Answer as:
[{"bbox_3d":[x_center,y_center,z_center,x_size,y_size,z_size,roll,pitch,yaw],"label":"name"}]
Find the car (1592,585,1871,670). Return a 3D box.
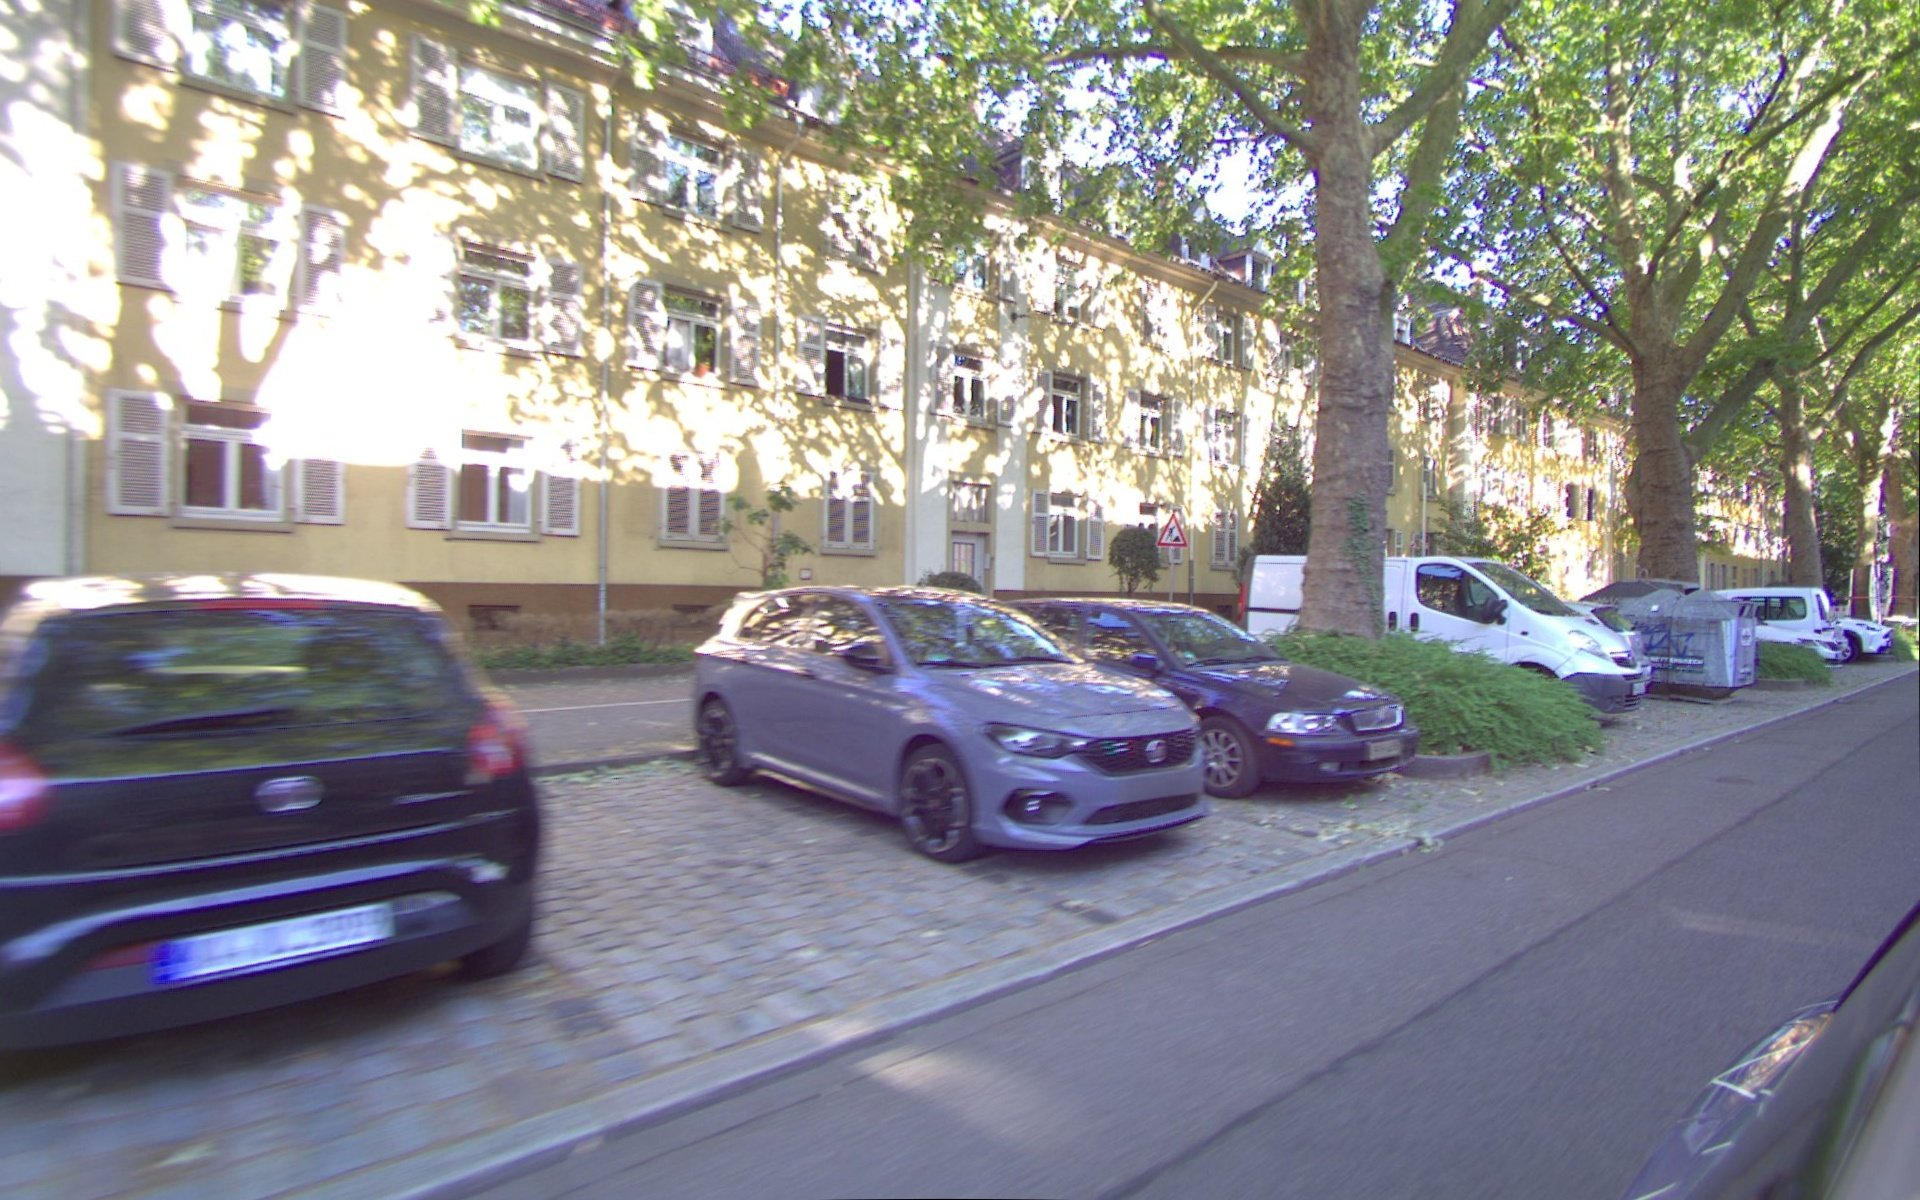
[{"bbox_3d":[16.142,0.507,21.399,1.767,1.561,4.384,1,0,-36],"label":"car"}]

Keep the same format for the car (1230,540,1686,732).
[{"bbox_3d":[6.129,0.324,12.963,2.030,1.988,4.843,0,1,-42],"label":"car"}]

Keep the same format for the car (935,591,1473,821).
[{"bbox_3d":[1.762,0.648,8.697,1.770,1.397,4.410,0,1,-36],"label":"car"}]

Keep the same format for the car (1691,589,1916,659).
[{"bbox_3d":[21.058,0.529,25.388,1.883,1.540,4.095,-1,2,-41],"label":"car"}]

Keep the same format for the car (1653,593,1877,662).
[{"bbox_3d":[19.110,0.584,24.167,1.817,1.451,3.856,0,1,-36],"label":"car"}]

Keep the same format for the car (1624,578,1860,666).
[{"bbox_3d":[17.619,0.425,22.947,1.881,1.794,3.856,0,1,-36],"label":"car"}]

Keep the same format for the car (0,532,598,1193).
[{"bbox_3d":[-3.044,0.569,4.167,1.680,1.528,3.846,0,1,-40],"label":"car"}]

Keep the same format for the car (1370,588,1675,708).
[{"bbox_3d":[8.033,0.590,14.649,1.644,1.464,3.530,0,1,-43],"label":"car"}]

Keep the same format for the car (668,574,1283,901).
[{"bbox_3d":[-0.206,0.591,6.901,1.864,1.502,4.255,0,1,-40],"label":"car"}]
